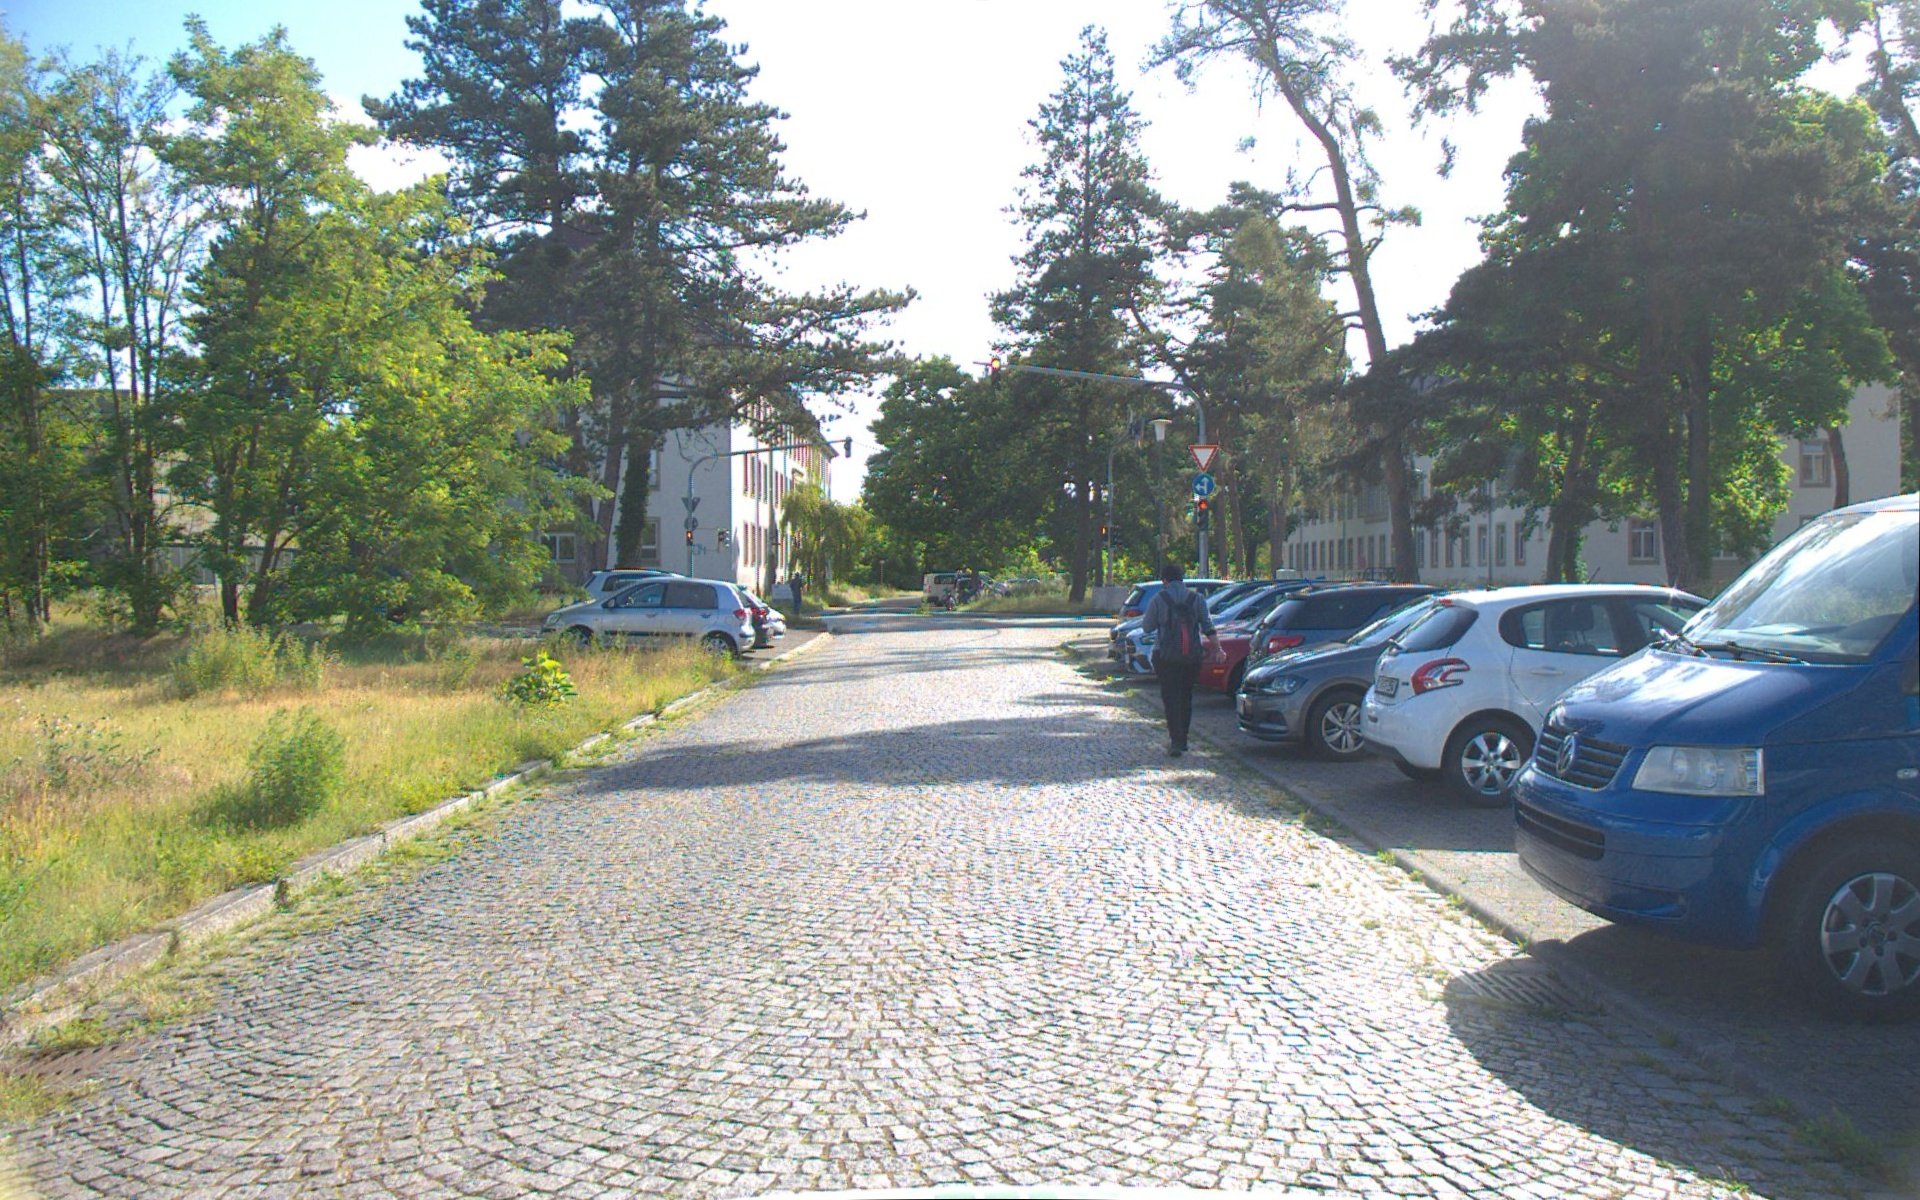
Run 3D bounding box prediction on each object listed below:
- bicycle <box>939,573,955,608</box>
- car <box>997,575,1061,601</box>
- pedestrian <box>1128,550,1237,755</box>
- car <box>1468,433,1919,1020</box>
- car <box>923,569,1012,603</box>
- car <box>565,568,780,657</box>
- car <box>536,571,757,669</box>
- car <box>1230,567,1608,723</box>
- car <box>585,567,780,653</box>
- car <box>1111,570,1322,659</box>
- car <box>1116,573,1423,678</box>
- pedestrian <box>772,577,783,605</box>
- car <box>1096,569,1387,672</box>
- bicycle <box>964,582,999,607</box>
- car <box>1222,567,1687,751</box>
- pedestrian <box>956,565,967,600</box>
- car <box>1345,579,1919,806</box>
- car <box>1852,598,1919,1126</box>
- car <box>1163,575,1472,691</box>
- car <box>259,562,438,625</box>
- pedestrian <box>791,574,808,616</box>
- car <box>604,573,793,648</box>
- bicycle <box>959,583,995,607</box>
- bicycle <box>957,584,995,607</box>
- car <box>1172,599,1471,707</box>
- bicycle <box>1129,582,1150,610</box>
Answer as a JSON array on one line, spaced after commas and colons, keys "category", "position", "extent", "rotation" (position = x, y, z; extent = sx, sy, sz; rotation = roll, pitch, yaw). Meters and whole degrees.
[{"category": "bicycle", "position": [-0.611, -0.443, 76.268], "extent": [0.738, 1.608, 2.536], "rotation": [0, 1, -1]}, {"category": "car", "position": [4.217, -0.730, 101.286], "extent": [3.673, 1.607, 1.738], "rotation": [0, 1, -8]}, {"category": "pedestrian", "position": [2.001, 0.460, 14.991], "extent": [0.738, 1.755, 0.828], "rotation": [4, 0, -1]}, {"category": "car", "position": [4.779, 0.362, 6.898], "extent": [4.657, 2.048, 2.000], "rotation": [-2, 1, 0]}, {"category": "car", "position": [0.401, -0.843, 97.328], "extent": [4.974, 1.951, 1.995], "rotation": [0, 1, -10]}, {"category": "car", "position": [-5.540, 0.227, 32.215], "extent": [3.858, 1.470, 1.690], "rotation": [3, 1, -2]}, {"category": "car", "position": [-5.536, 0.339, 29.549], "extent": [3.612, 1.554, 1.698], "rotation": [2, 1, -3]}, {"category": "car", "position": [4.881, 0.451, 17.913], "extent": [3.588, 1.480, 1.666], "rotation": [-2, 1, -1]}, {"category": "car", "position": [-5.799, 0.199, 34.873], "extent": [3.801, 1.643, 1.660], "rotation": [2, 1, -2]}, {"category": "car", "position": [4.676, 0.246, 30.527], "extent": [3.598, 1.468, 1.665], "rotation": [-2, 1, -1]}, {"category": "car", "position": [4.653, 0.363, 25.277], "extent": [4.310, 1.413, 1.788], "rotation": [-2, 1, -2]}, {"category": "pedestrian", "position": [-10.260, -0.505, 93.192], "extent": [0.595, 1.587, 0.544], "rotation": [0, 1, -7]}, {"category": "car", "position": [4.694, 0.322, 27.990], "extent": [4.527, 1.481, 1.869], "rotation": [-3, 1, -3]}, {"category": "bicycle", "position": [1.037, -0.271, 80.650], "extent": [1.693, 1.185, 0.560], "rotation": [0, 0, -4]}, {"category": "car", "position": [4.384, 0.496, 15.070], "extent": [3.703, 1.476, 1.758], "rotation": [-2, 1, 1]}, {"category": "pedestrian", "position": [0.080, -1.025, 95.752], "extent": [0.582, 2.049, 0.573], "rotation": [0, 1, 2]}, {"category": "car", "position": [4.803, 0.621, 12.144], "extent": [3.570, 1.518, 1.634], "rotation": [-1, 1, 0]}, {"category": "car", "position": [4.554, 0.705, 4.270], "extent": [3.645, 1.492, 1.609], "rotation": [-2, 1, -3]}, {"category": "car", "position": [4.884, 0.428, 22.932], "extent": [3.898, 1.474, 1.655], "rotation": [-1, 1, -1]}, {"category": "car", "position": [-16.478, -0.190, 44.710], "extent": [4.059, 1.636, 2.010], "rotation": [0, 1, 0]}, {"category": "pedestrian", "position": [-6.913, -0.218, 71.240], "extent": [0.597, 1.783, 0.627], "rotation": [0, 1, -18]}, {"category": "car", "position": [-5.906, 0.223, 37.603], "extent": [3.903, 1.522, 1.774], "rotation": [2, 1, 4]}, {"category": "bicycle", "position": [0.813, -0.225, 79.966], "extent": [1.693, 1.131, 0.484], "rotation": [0, 0, -4]}, {"category": "bicycle", "position": [0.752, -0.219, 79.421], "extent": [1.798, 1.131, 0.495], "rotation": [0, 0, -4]}, {"category": "car", "position": [4.418, 0.631, 20.538], "extent": [3.390, 1.264, 1.536], "rotation": [0, 1, 0]}, {"category": "bicycle", "position": [7.350, -0.176, 67.606], "extent": [0.706, 1.134, 2.586], "rotation": [0, 1, 9]}]
